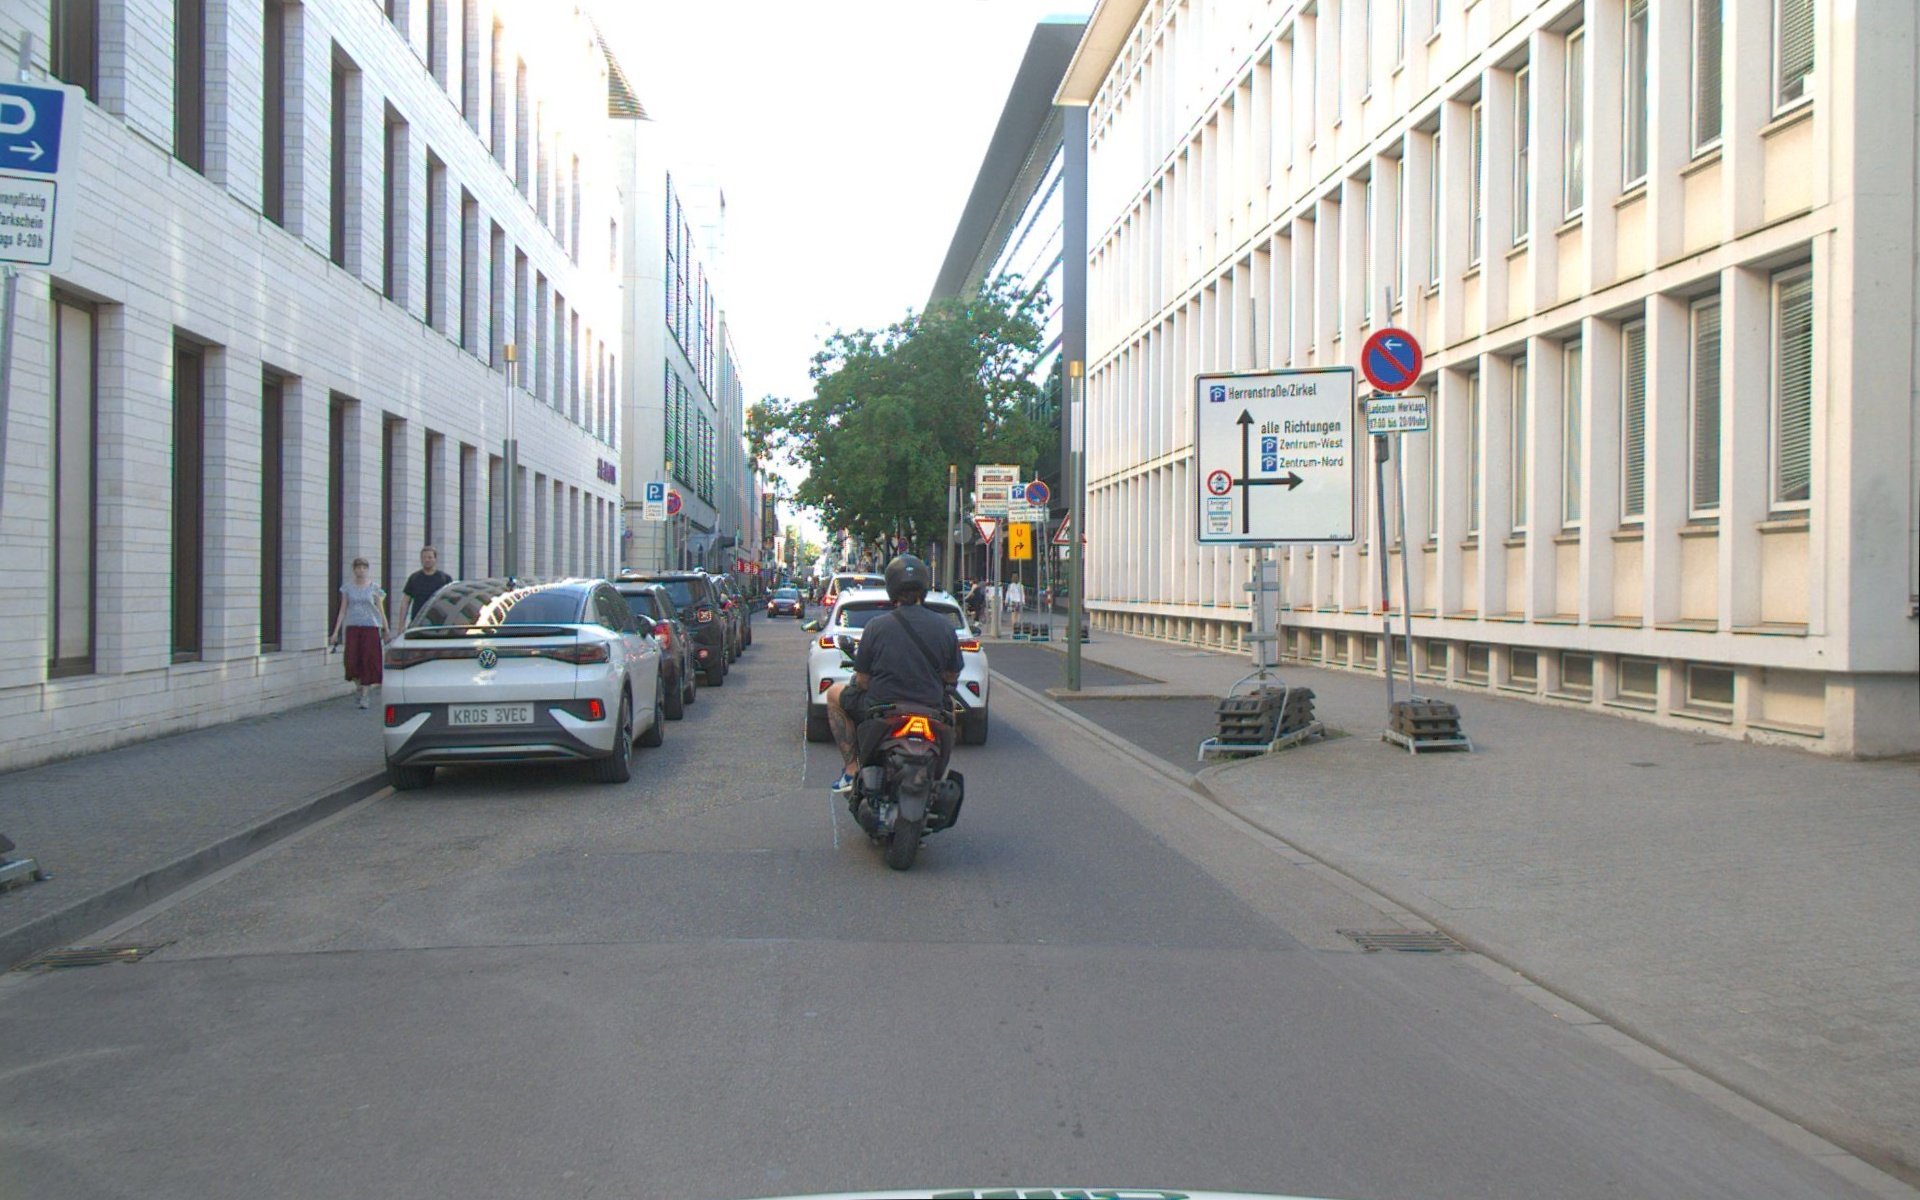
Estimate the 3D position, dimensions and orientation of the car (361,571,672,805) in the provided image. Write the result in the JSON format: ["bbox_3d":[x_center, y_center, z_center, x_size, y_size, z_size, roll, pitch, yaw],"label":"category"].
[{"bbox_3d":[-3.546,0.602,14.006,1.775,1.634,4.263,-1,1,-5],"label":"car"}]

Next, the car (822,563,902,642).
[{"bbox_3d":[-2.510,0.040,41.536,1.887,1.889,3.996,-1,1,-5],"label":"car"}]

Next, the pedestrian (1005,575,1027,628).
[{"bbox_3d":[1.729,0.033,51.439,0.630,1.629,0.620,0,0,-3],"label":"pedestrian"}]

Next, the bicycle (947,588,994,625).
[{"bbox_3d":[0.366,0.237,58.018,1.530,1.271,0.552,0,0,16],"label":"bicycle"}]

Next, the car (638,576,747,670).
[{"bbox_3d":[-5.009,0.392,31.348,1.742,1.634,3.512,-1,1,-5],"label":"car"}]

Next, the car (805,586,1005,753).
[{"bbox_3d":[-0.576,0.633,17.422,1.822,1.498,3.999,2,0,-2],"label":"car"}]

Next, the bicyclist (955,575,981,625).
[{"bbox_3d":[0.275,-0.005,58.048,0.731,1.736,0.737,0,0,16],"label":"bicyclist"}]

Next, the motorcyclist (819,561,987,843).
[{"bbox_3d":[-0.342,0.571,9.983,0.935,1.587,1.238,0,0,-2],"label":"motorcyclist"}]

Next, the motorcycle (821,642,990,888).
[{"bbox_3d":[-0.330,0.906,10.068,0.887,1.204,2.578,0,1,-2],"label":"motorcycle"}]

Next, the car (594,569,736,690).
[{"bbox_3d":[-4.423,0.390,25.259,1.775,1.674,3.512,-1,1,-5],"label":"car"}]

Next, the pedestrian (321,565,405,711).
[{"bbox_3d":[-6.876,0.420,19.087,0.690,1.642,0.860,0,0,-5],"label":"pedestrian"}]

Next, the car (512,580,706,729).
[{"bbox_3d":[-4.042,0.561,19.537,1.775,1.554,3.512,-1,1,-5],"label":"car"}]

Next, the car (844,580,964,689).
[{"bbox_3d":[-0.955,0.484,26.255,1.739,1.577,4.103,-1,1,-4],"label":"car"}]

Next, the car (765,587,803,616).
[{"bbox_3d":[-9.174,0.061,86.481,1.910,1.495,3.511,-1,1,-6],"label":"car"}]

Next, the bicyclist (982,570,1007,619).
[{"bbox_3d":[1.253,-0.208,59.382,0.731,1.736,0.737,0,0,16],"label":"bicyclist"}]

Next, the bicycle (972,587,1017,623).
[{"bbox_3d":[1.239,0.183,59.379,1.530,1.271,0.552,0,0,16],"label":"bicycle"}]

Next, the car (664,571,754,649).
[{"bbox_3d":[-5.615,0.195,37.329,1.742,1.634,3.512,-1,1,-5],"label":"car"}]

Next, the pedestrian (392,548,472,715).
[{"bbox_3d":[-5.856,0.341,18.378,0.690,1.817,0.726,0,0,-5],"label":"pedestrian"}]
